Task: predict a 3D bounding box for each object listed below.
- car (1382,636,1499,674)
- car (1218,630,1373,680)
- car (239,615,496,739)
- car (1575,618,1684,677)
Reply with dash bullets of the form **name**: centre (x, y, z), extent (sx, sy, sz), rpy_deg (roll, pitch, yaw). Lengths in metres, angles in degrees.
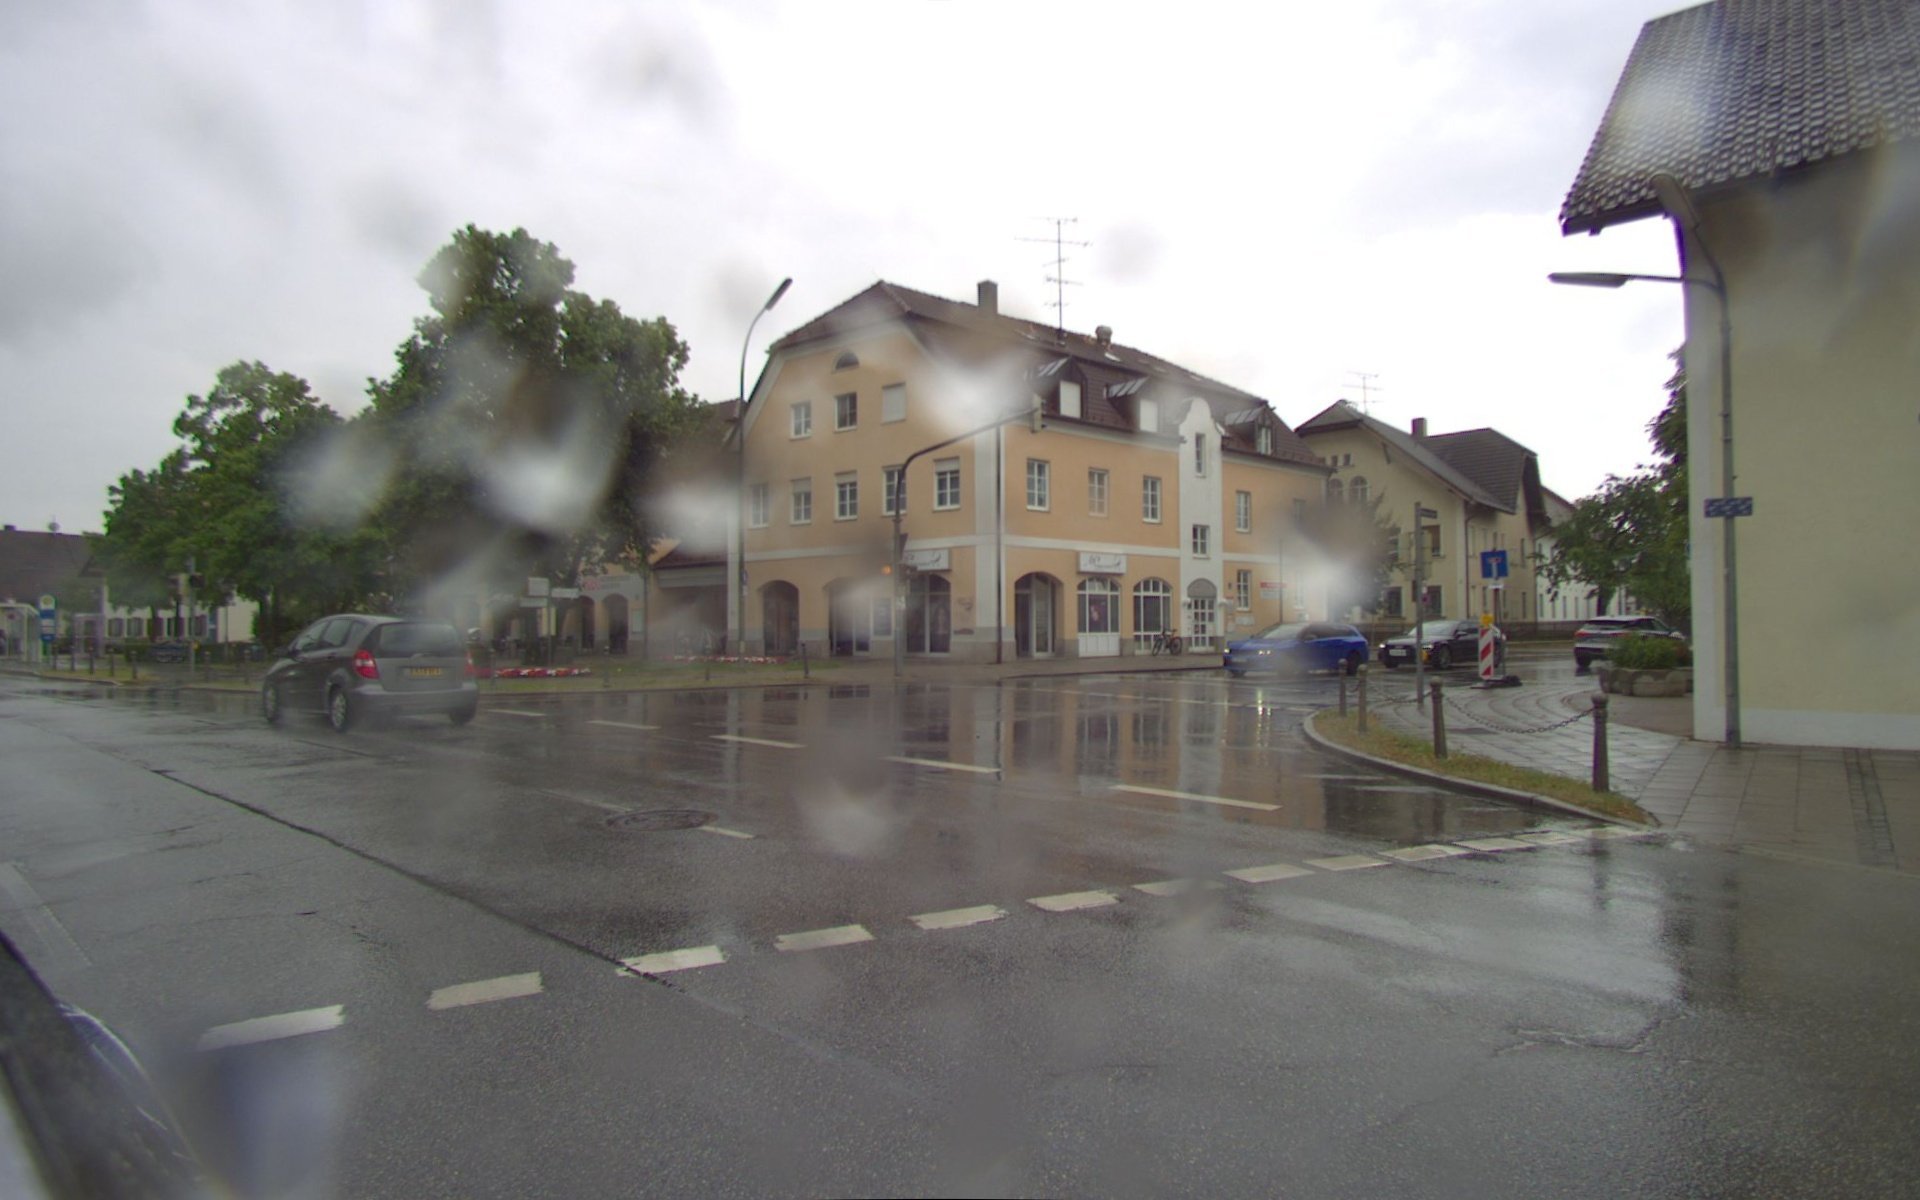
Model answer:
- **car**: centre (14.550, 1.616, 30.575), extent (4.006, 1.025, 1.427), rpy_deg (1, -2, -35)
- **car**: centre (8.925, 1.402, 26.808), extent (4.288, 1.194, 1.693), rpy_deg (1, -2, -35)
- **car**: centre (-8.616, 1.020, 14.623), extent (3.894, 1.545, 1.897), rpy_deg (-1, -2, 38)
- **car**: centre (20.831, 1.462, 31.438), extent (2.089, 1.686, 4.323), rpy_deg (-1, -3, 44)
